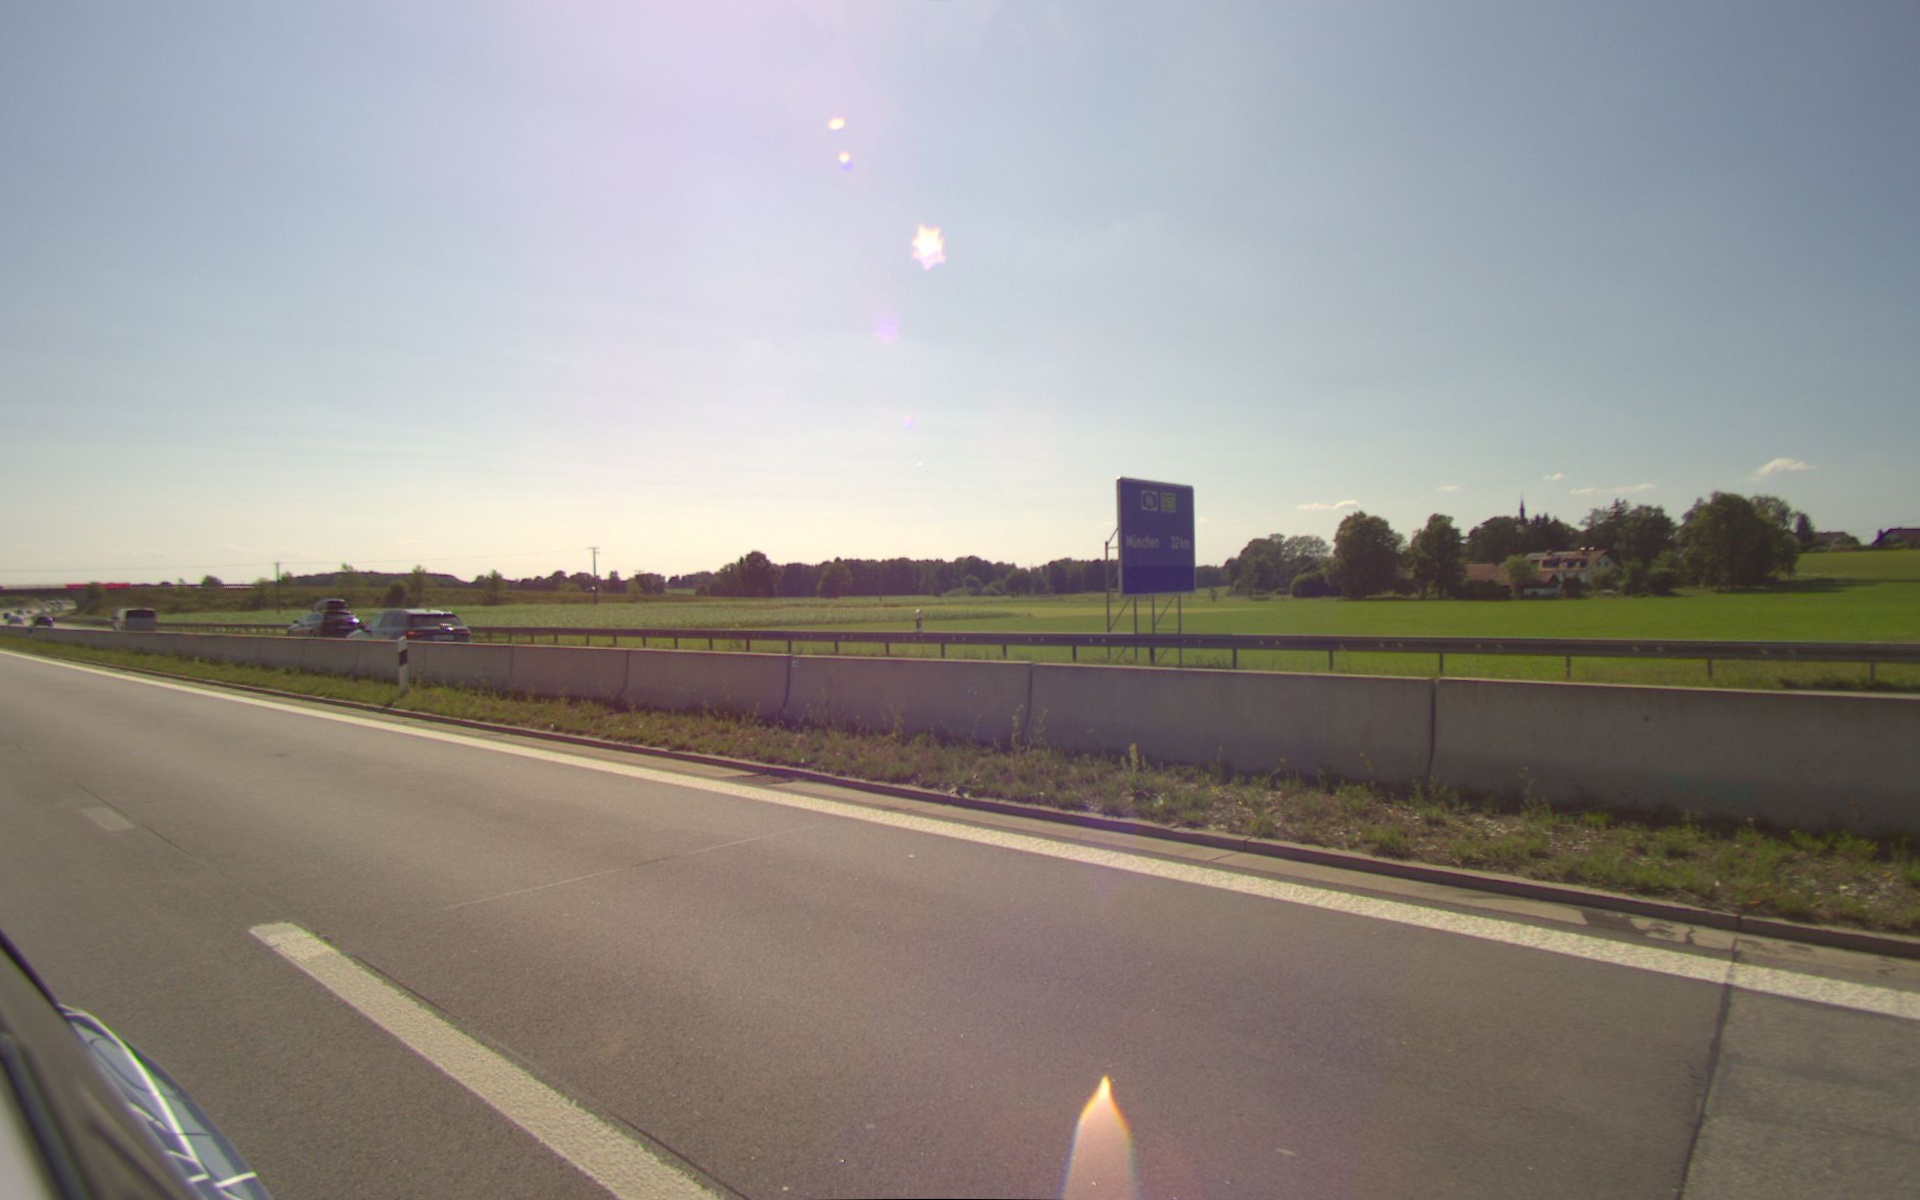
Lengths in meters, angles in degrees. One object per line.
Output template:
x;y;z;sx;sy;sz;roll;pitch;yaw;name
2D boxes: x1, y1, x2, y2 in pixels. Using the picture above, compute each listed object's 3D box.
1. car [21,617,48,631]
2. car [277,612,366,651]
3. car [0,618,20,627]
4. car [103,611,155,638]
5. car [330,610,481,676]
-111.146;2.904;121.519;4.913;1.597;1.838;-1;-1;42;car
-26.738;1.314;42.303;4.803;1.535;1.878;-1;-1;41;car
-141.636;3.375;150.867;5.294;1.375;1.803;-1;-1;42;car
-58.651;1.716;71.392;5.447;1.856;1.933;-1;-1;41;car
-14.228;1.052;25.857;4.803;1.535;1.878;-1;-1;41;car
